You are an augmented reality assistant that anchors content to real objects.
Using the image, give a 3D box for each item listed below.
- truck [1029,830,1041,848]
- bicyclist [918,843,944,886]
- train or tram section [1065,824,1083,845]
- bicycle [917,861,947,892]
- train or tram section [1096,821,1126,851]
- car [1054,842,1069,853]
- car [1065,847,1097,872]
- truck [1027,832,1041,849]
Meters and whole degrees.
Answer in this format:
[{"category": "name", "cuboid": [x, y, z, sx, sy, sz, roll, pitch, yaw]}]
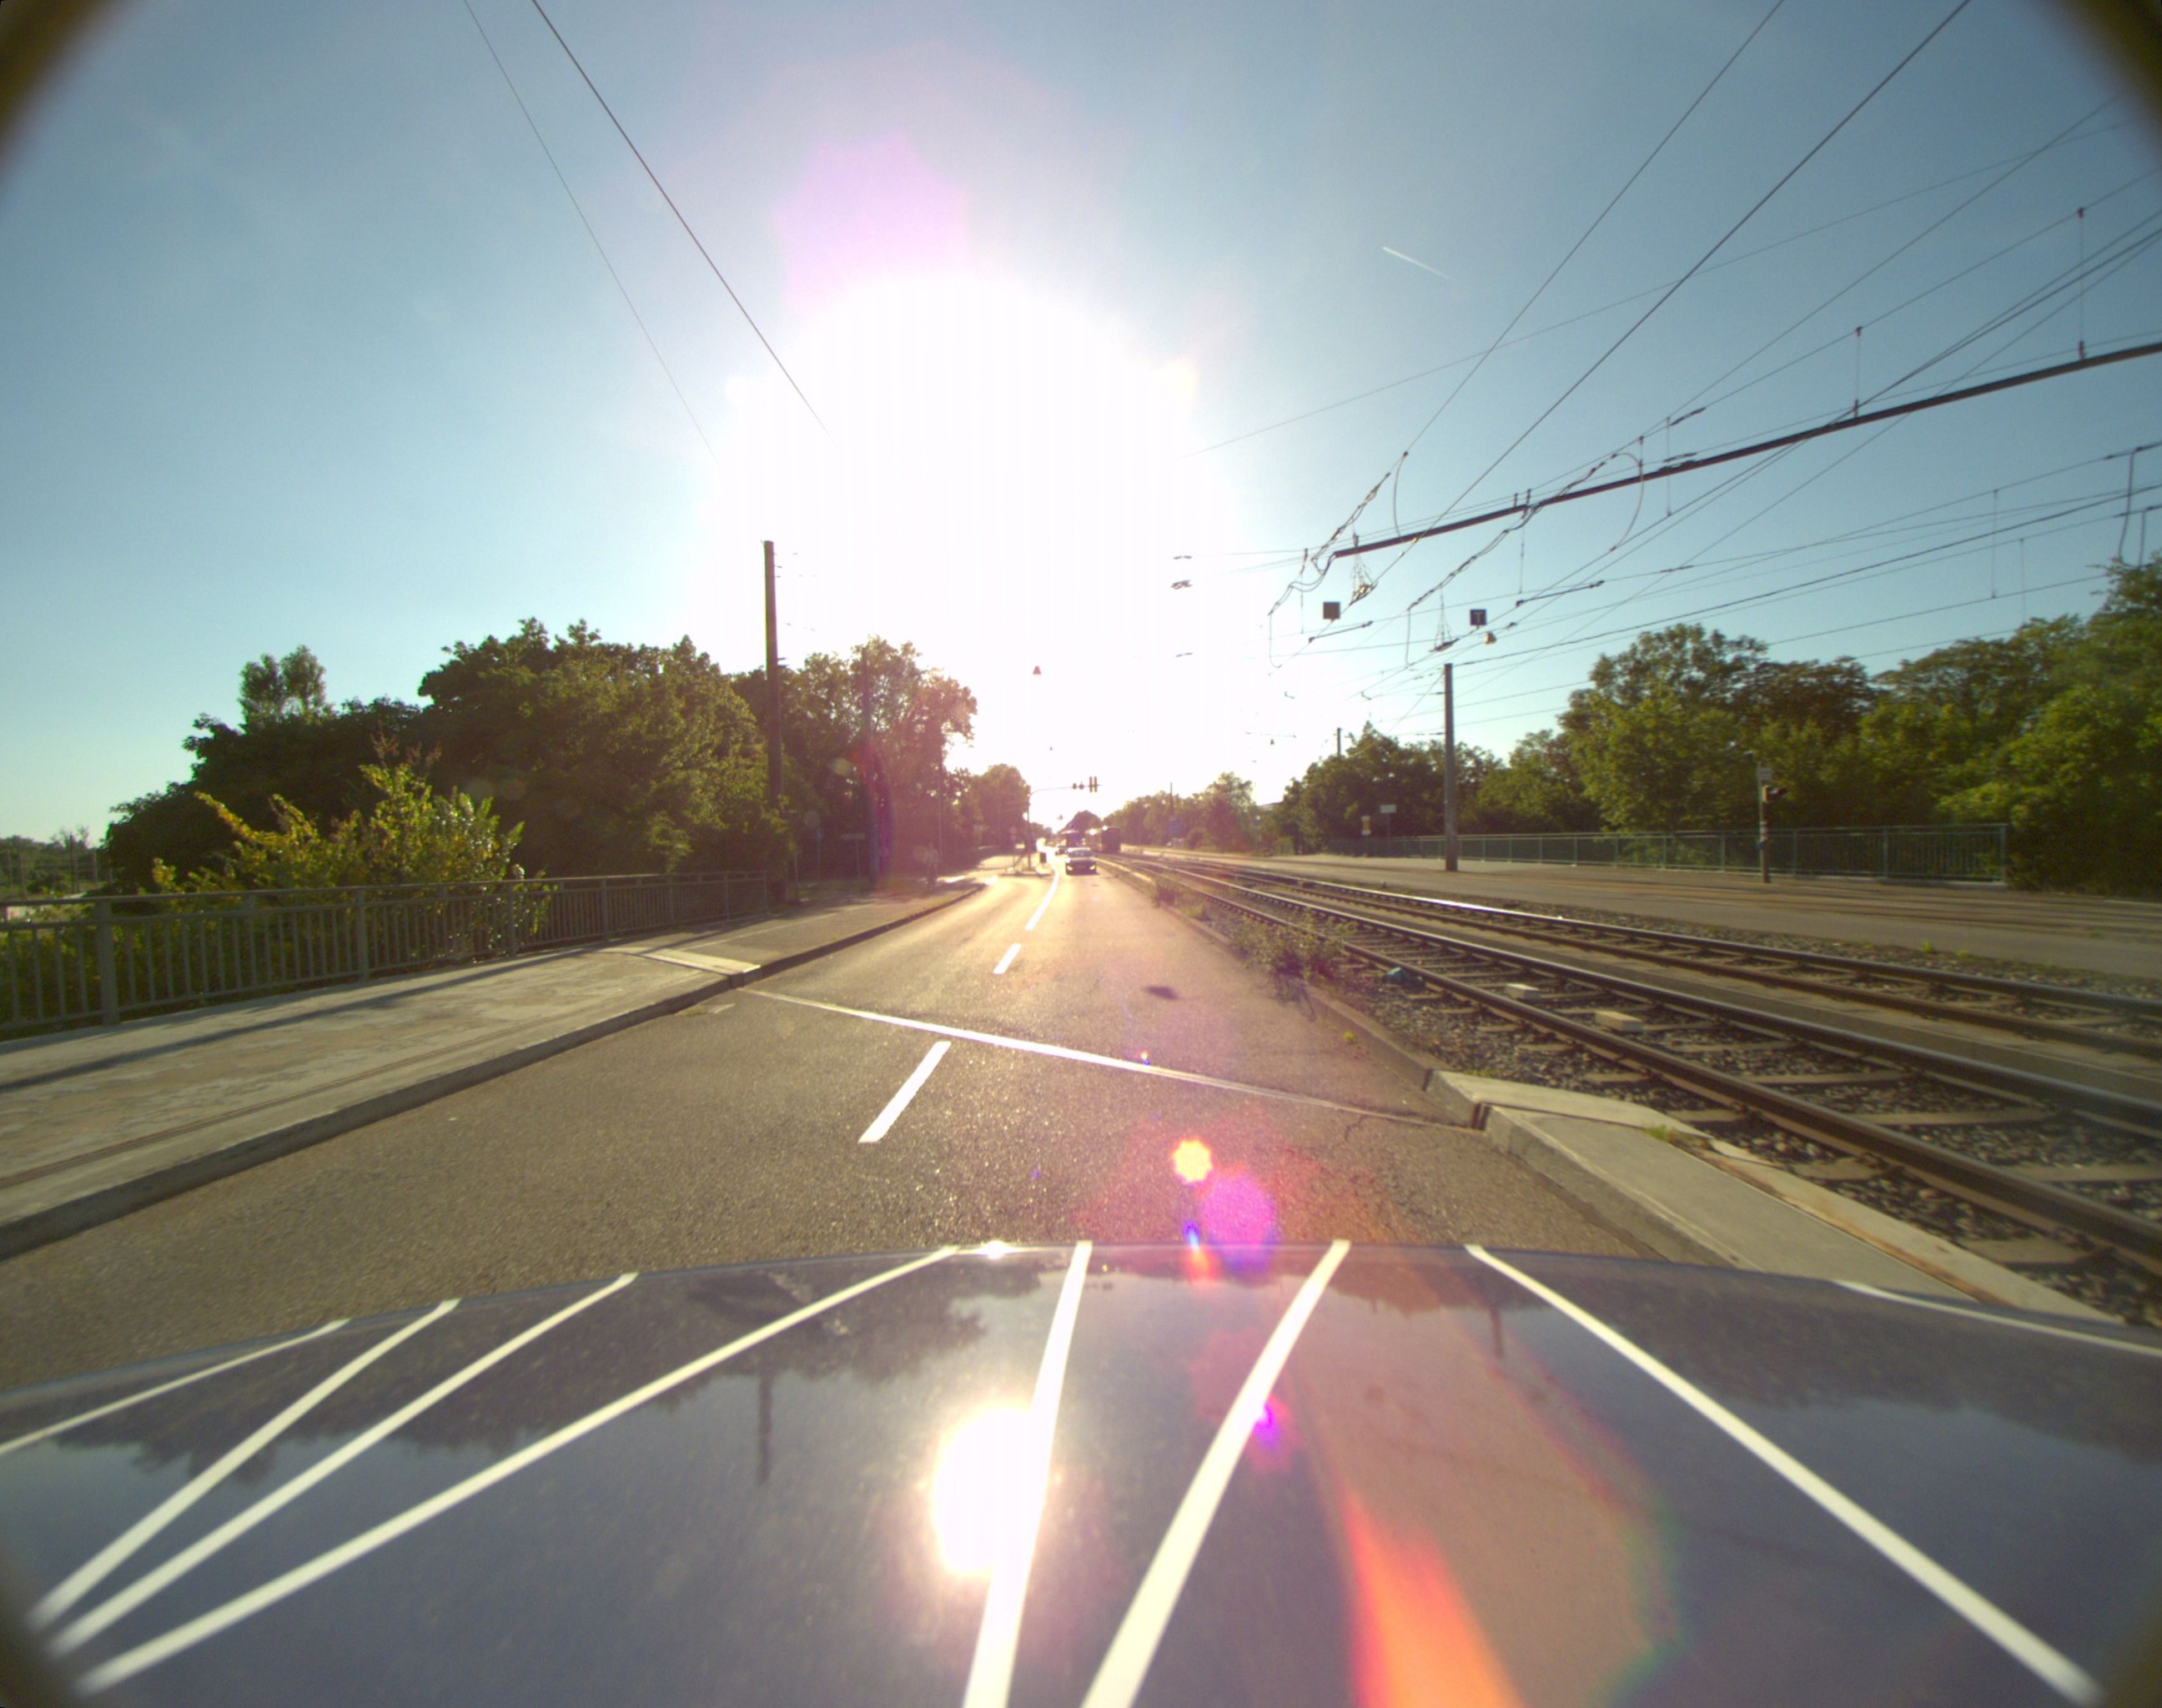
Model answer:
[{"category": "truck", "cuboid": [-10.279, -3.385, 169.352, 2.560, 3.827, 7.866, -2, 1, -3]}, {"category": "bicyclist", "cuboid": [-6.081, 0.405, 30.916, 0.733, 1.680, 1.201, -4, 1, -2]}, {"category": "train or tram section", "cuboid": [-1.376, -3.658, 144.039, 2.570, 3.879, 11.665, -2, 1, -4]}, {"category": "bicycle", "cuboid": [-6.035, 0.895, 30.904, 0.733, 1.116, 2.741, -4, 1, -2]}, {"category": "train or tram section", "cuboid": [4.100, -2.444, 106.448, 2.986, 3.879, 12.695, -2, 1, -3]}, {"category": "car", "cuboid": [-2.434, -0.804, 97.658, 1.801, 1.345, 3.999, -1, 1, 0]}, {"category": "car", "cuboid": [0.027, 0.300, 44.960, 1.801, 1.345, 3.999, -1, 1, 0]}, {"category": "truck", "cuboid": [-9.378, -2.684, 152.781, 2.610, 3.186, 7.866, -2, 1, -3]}]
